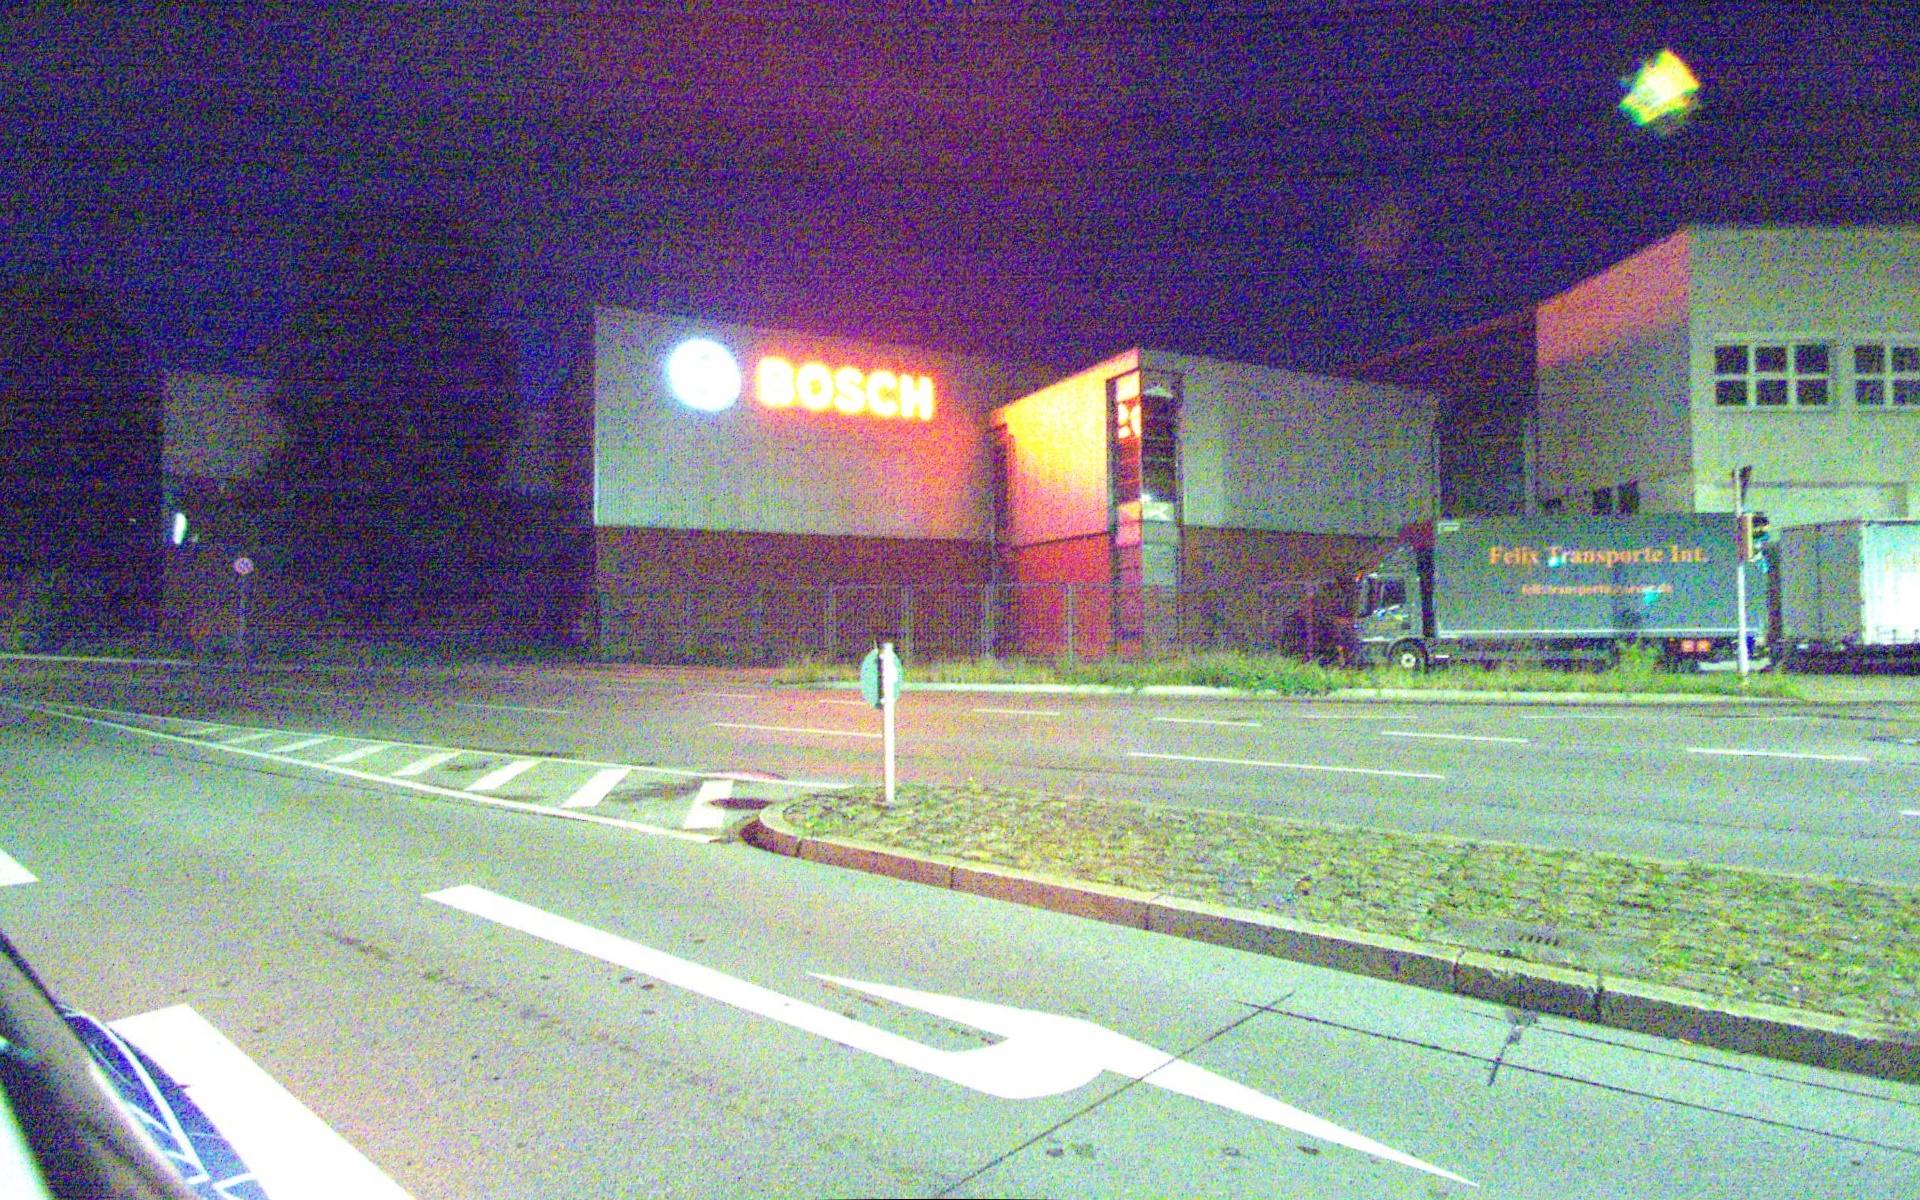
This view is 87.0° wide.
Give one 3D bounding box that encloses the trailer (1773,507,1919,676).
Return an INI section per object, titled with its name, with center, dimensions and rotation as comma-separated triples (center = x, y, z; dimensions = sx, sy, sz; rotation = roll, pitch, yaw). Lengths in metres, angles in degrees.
[trailer]
center = 23.714, -0.162, 24.052
dimensions = 6.430, 3.819, 2.619
rotation = 0, -1, 4

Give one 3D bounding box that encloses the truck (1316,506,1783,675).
[truck]
center = 13.984, -0.215, 24.788
dimensions = 9.439, 3.825, 2.942
rotation = 0, -1, 6
